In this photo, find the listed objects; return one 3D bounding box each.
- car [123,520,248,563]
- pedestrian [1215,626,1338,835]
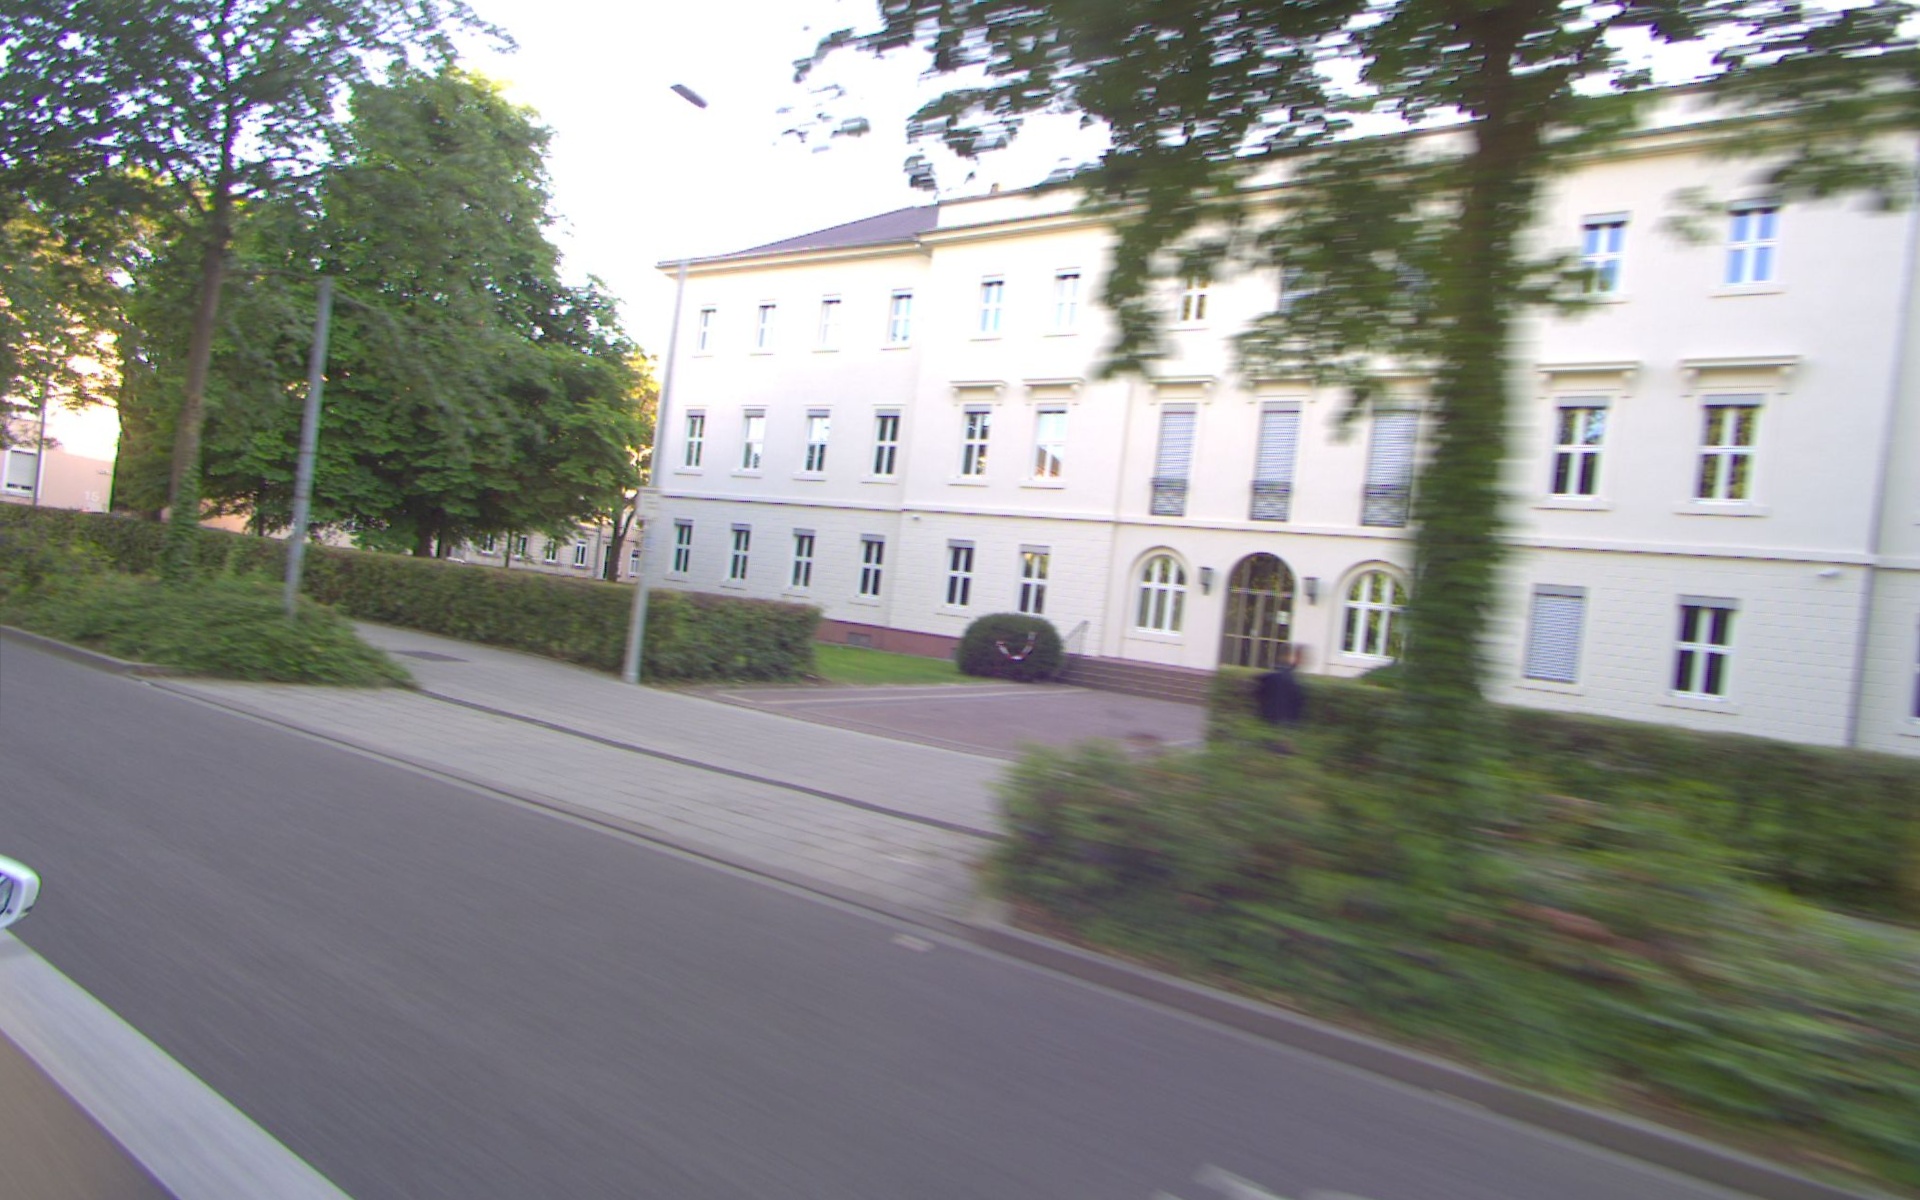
[{"bbox_3d":[-36.552,-2.729,47.581,1.841,1.500,4.243,6,0,33],"label":"car"},{"bbox_3d":[2.963,1.182,9.385,0.793,1.760,0.772,7,0,26],"label":"pedestrian"}]
